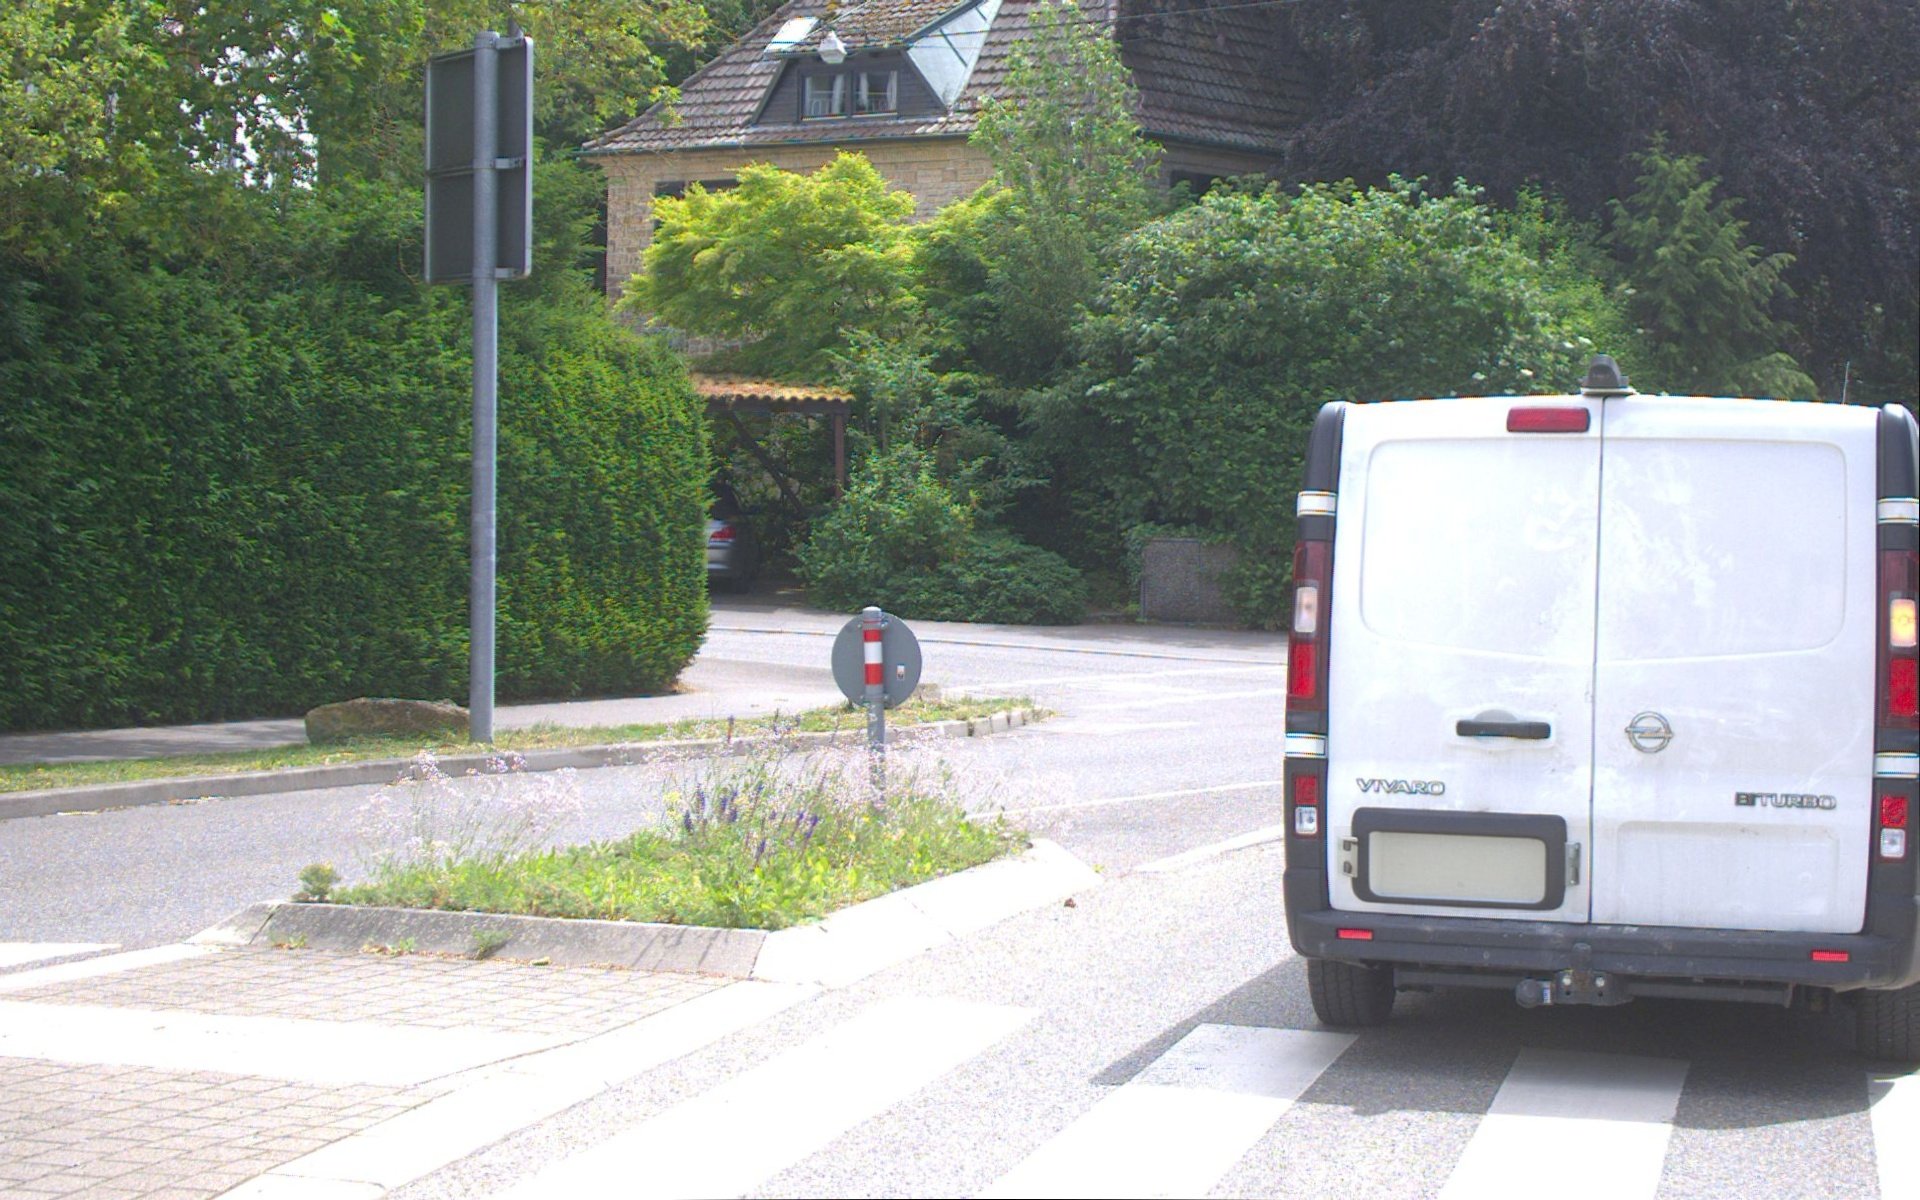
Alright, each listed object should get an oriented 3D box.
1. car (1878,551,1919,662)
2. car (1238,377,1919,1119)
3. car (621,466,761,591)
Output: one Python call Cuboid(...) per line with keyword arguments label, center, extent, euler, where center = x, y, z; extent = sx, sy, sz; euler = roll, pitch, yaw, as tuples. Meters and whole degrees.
Cuboid(label="car", center=(13.782, 0.119, 44.869), extent=(1.664, 1.373, 4.555), euler=(4, 3, 40))
Cuboid(label="car", center=(2.459, 0.355, 11.744), extent=(1.940, 1.954, 4.829), euler=(2, 1, 17))
Cuboid(label="car", center=(-3.530, -0.988, 45.602), extent=(1.722, 1.504, 4.001), euler=(2, 2, -3))
